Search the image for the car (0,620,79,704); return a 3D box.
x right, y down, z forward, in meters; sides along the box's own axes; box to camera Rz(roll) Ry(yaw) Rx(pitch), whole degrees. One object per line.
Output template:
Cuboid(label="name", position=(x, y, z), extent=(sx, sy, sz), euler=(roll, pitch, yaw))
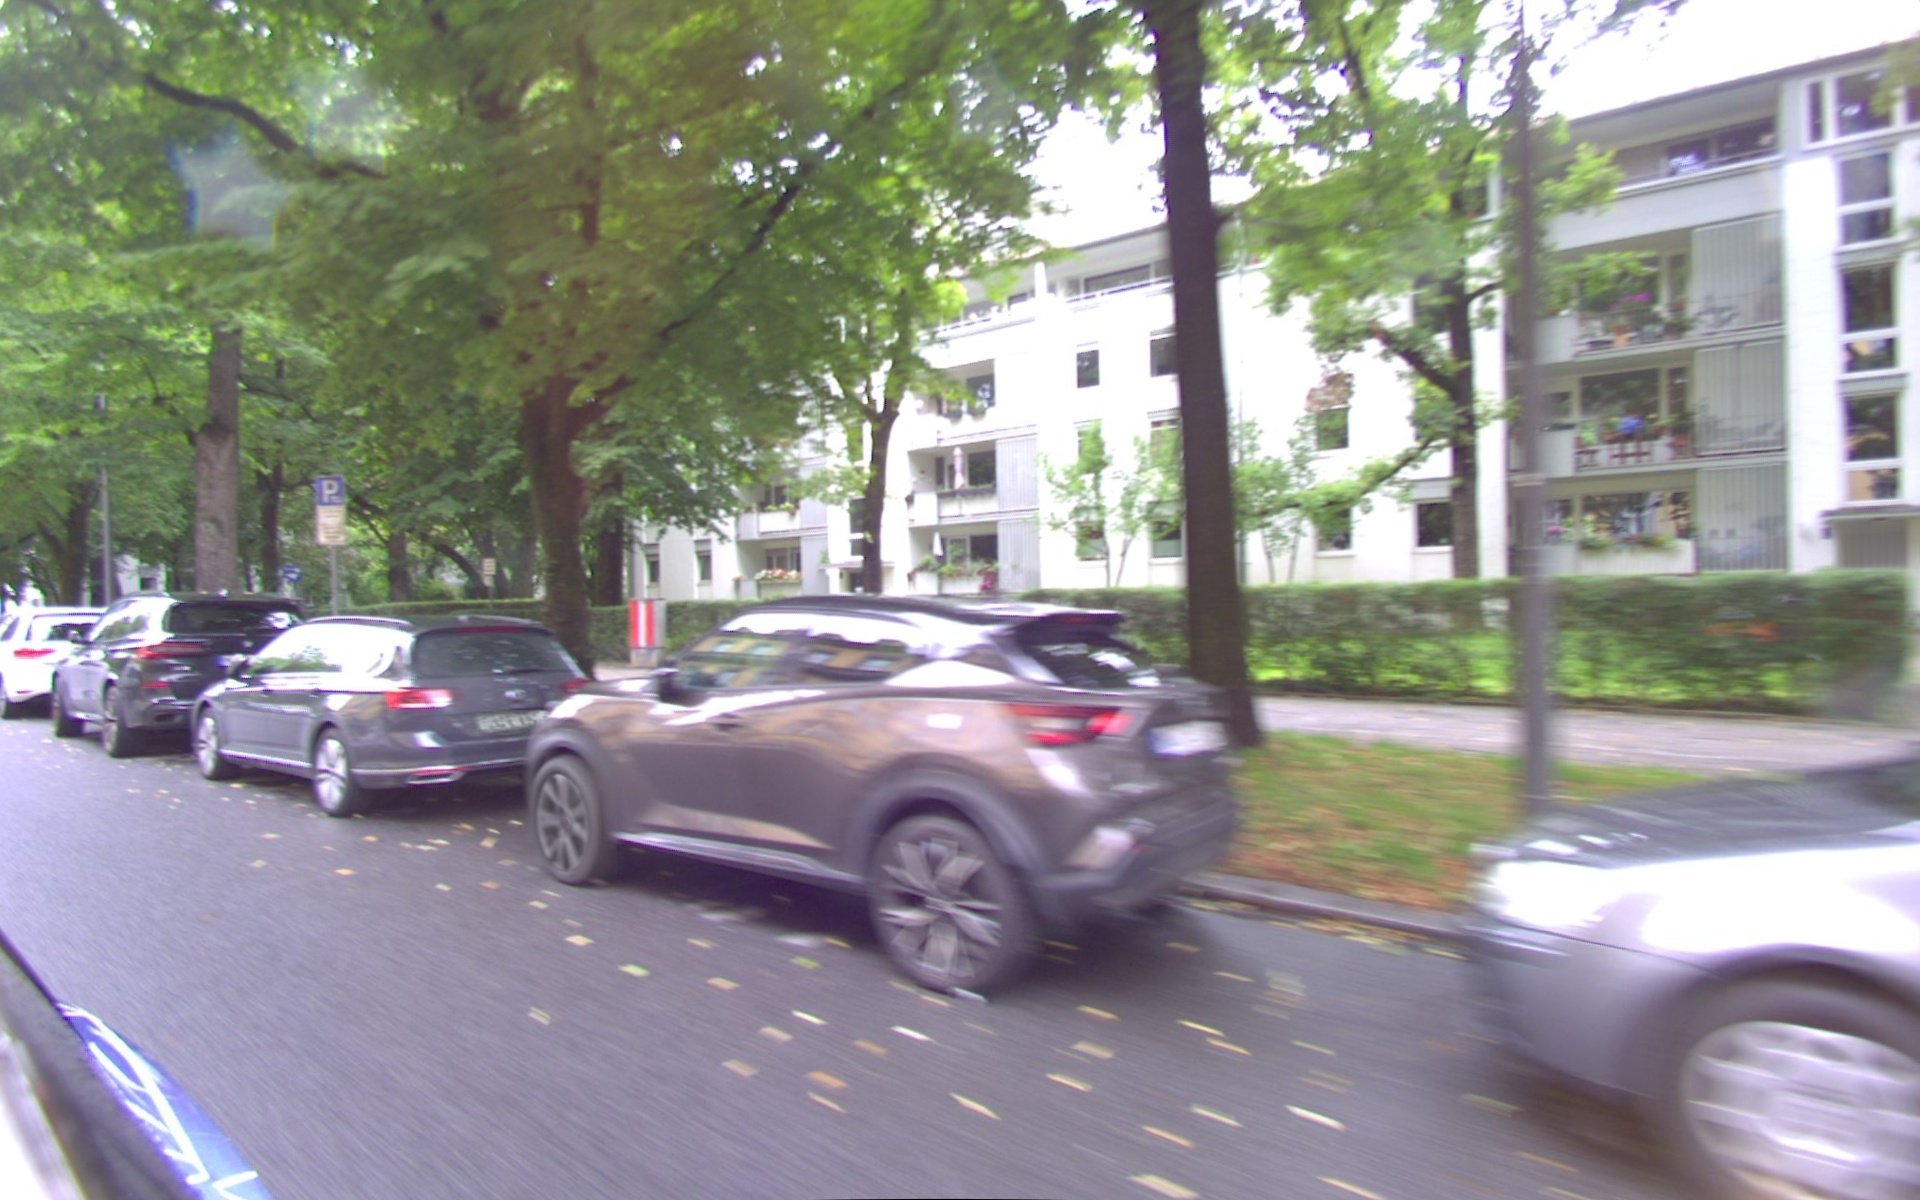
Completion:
Cuboid(label="car", position=(-19.243, 1.171, 20.031), extent=(4.990, 1.480, 1.792), euler=(-1, 0, 38))

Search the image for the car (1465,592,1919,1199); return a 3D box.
Cuboid(label="car", position=(3.528, 0.675, 2.039), extent=(4.244, 1.433, 1.711), euler=(-1, -1, 37))

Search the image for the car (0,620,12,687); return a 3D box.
Cuboid(label="car", position=(-23.396, 1.226, 23.248), extent=(4.096, 1.480, 1.657), euler=(-1, 0, 36))

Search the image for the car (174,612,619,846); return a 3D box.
Cuboid(label="car", position=(-4.983, 0.864, 8.625), extent=(4.690, 1.462, 1.702), euler=(-1, 0, 39))

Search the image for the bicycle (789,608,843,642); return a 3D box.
Cuboid(label="bicycle", position=(-4.962, 0.865, 34.857), extent=(1.898, 1.116, 0.635), euler=(-2, 0, 34))

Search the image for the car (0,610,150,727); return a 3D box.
Cuboid(label="car", position=(-14.664, 1.005, 16.199), extent=(4.518, 1.634, 1.747), euler=(-1, -3, 40))

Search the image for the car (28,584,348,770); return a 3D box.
Cuboid(label="car", position=(-9.415, 0.791, 12.185), extent=(4.915, 1.810, 1.974), euler=(-1, -2, 39))

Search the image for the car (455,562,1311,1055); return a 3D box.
Cuboid(label="car", position=(-0.688, 0.727, 5.347), extent=(4.479, 1.586, 1.769), euler=(-1, -2, 37))
